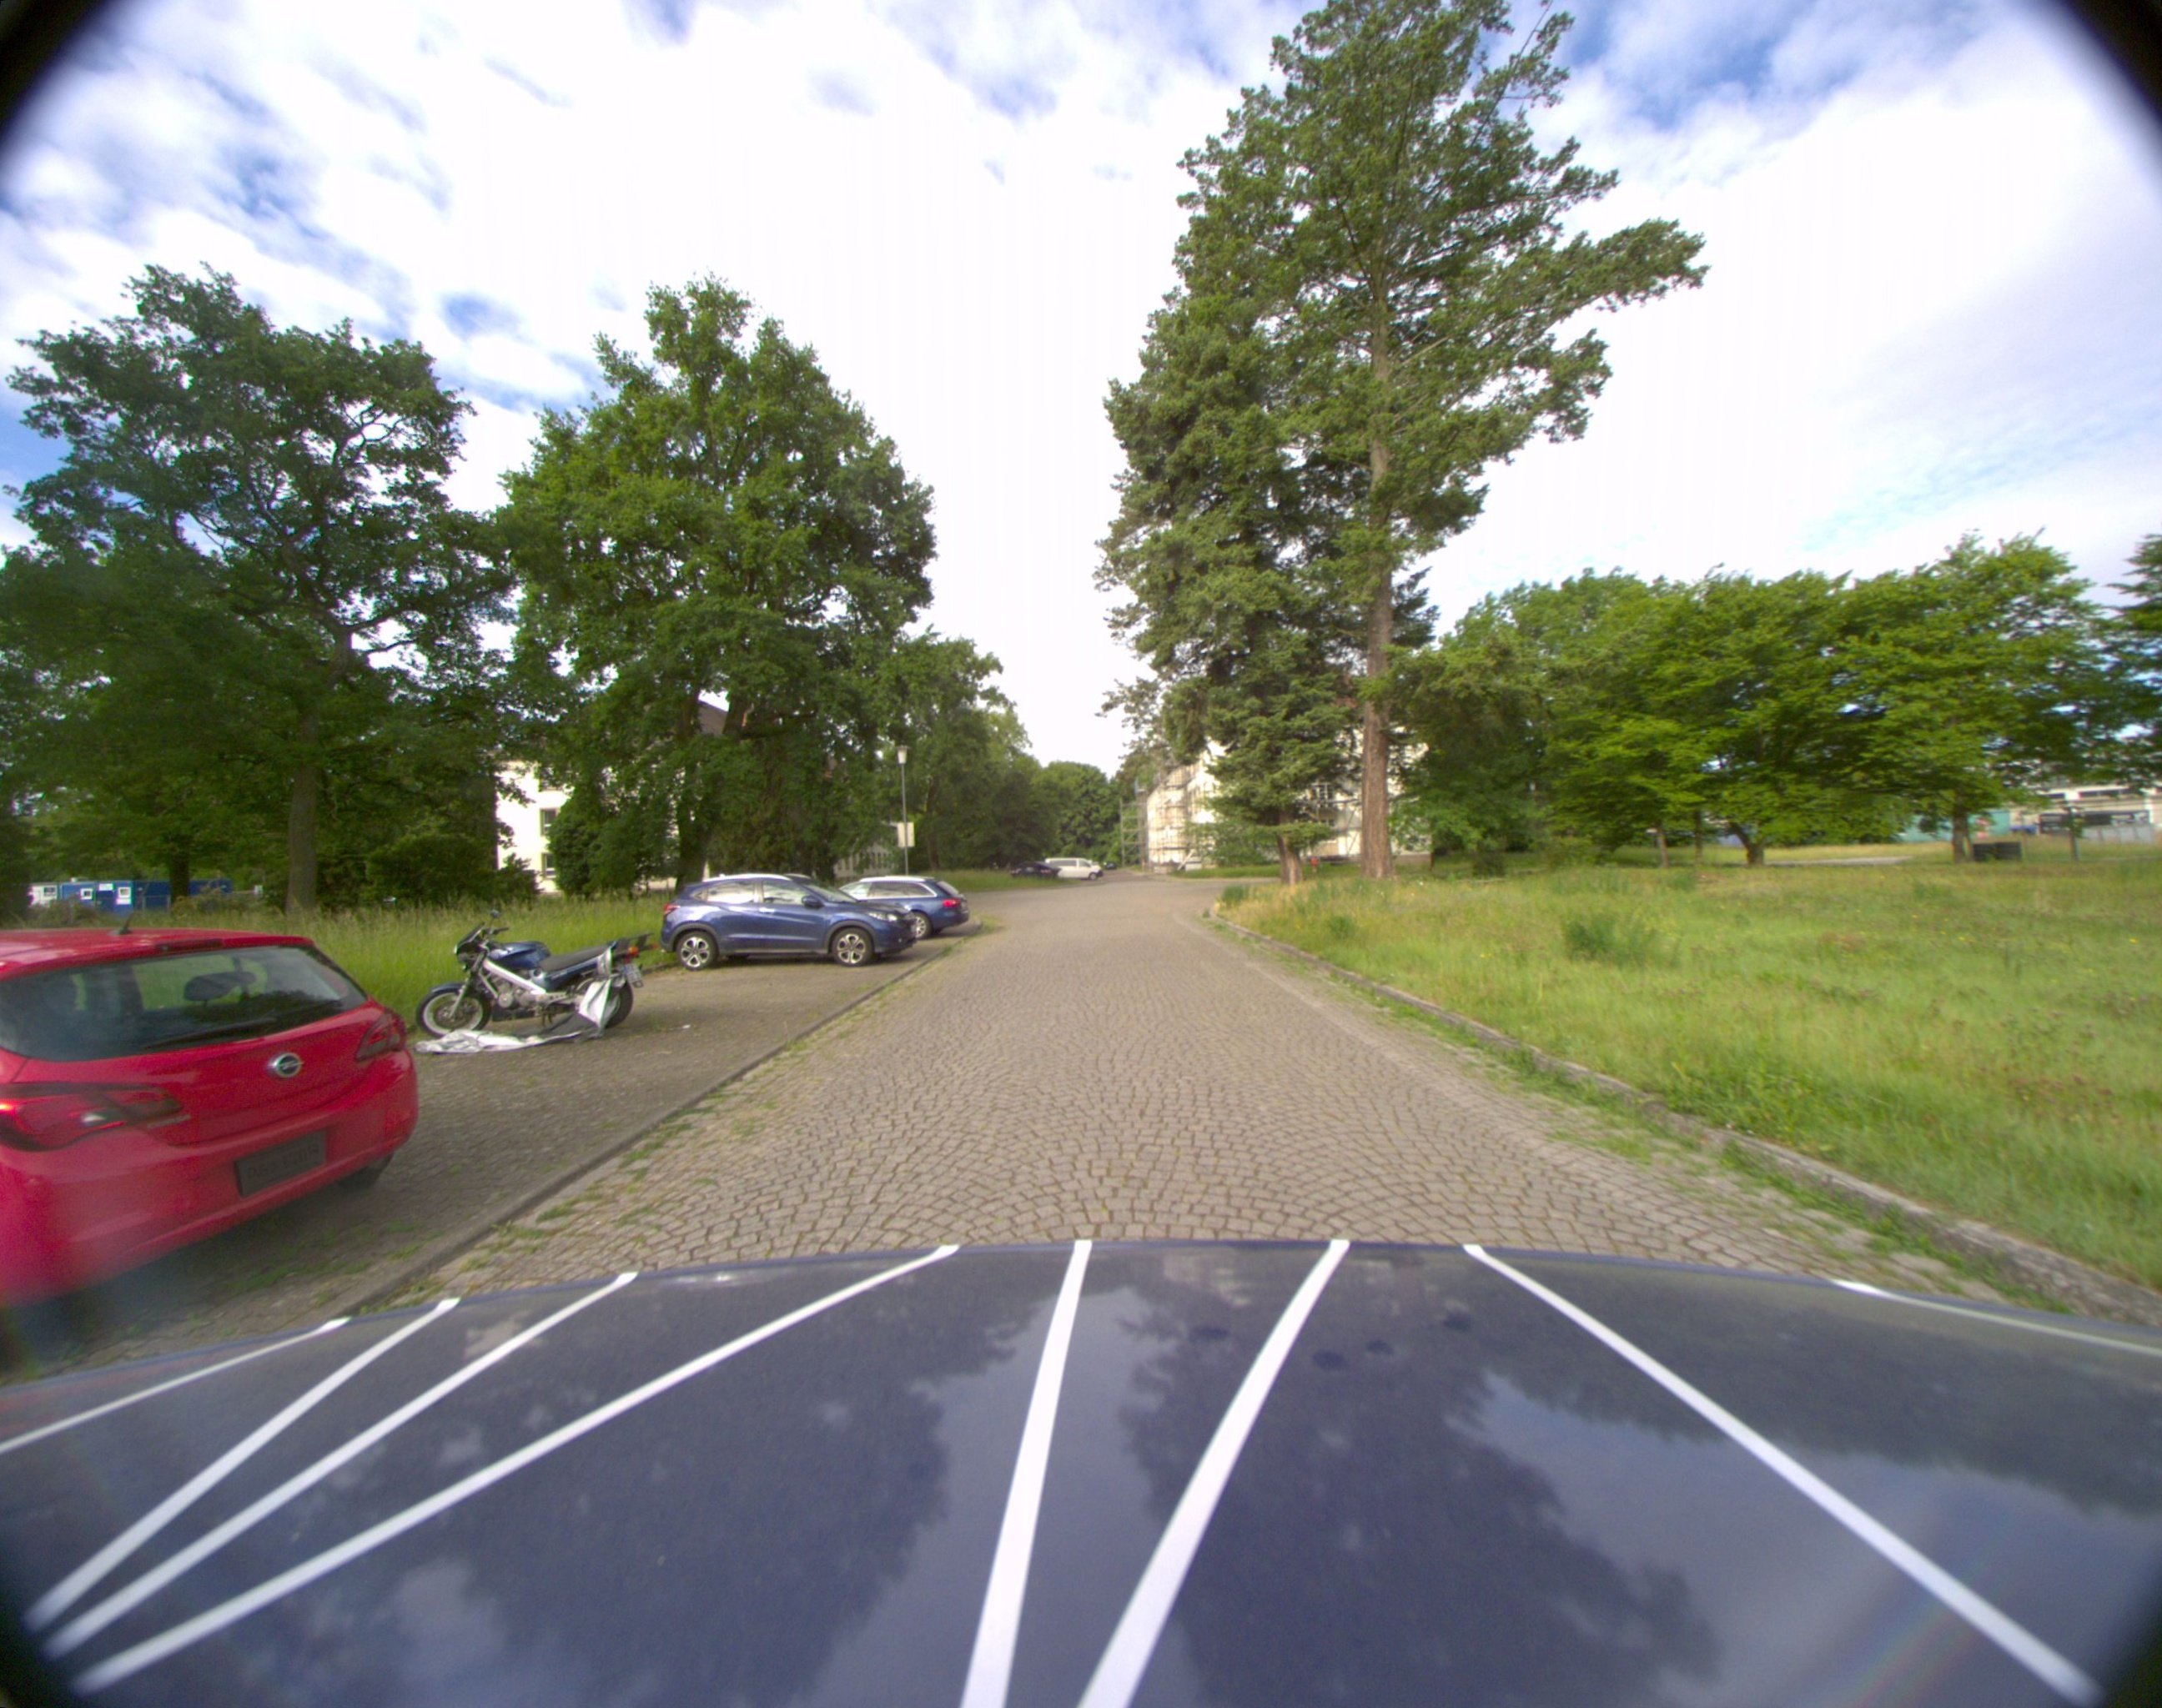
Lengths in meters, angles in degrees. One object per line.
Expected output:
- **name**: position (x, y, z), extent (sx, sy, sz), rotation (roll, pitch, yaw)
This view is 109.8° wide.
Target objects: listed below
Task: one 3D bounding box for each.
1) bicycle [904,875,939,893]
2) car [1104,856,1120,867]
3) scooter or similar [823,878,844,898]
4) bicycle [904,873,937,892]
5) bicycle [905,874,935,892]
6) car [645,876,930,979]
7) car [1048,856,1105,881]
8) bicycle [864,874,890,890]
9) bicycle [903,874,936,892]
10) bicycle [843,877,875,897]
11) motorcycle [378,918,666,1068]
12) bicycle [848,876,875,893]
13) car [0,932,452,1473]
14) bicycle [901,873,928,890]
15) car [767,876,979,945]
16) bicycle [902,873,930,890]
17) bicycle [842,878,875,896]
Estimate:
- **bicycle**: position (-9.892, 1.854, 47.178), extent (2.020, 1.004, 0.478), rotation (-2, 2, -21)
- **car**: position (5.438, 1.296, 133.269), extent (2.028, 1.915, 3.997), rotation (-2, 0, -10)
- **scooter or similar**: position (-15.054, 2.077, 46.236), extent (1.063, 1.187, 0.385), rotation (-2, 0, 3)
- **bicycle**: position (-10.316, 1.823, 48.888), extent (2.020, 1.082, 0.478), rotation (-2, 2, -21)
- **bicycle**: position (-10.531, 1.871, 49.679), extent (1.791, 1.082, 0.478), rotation (-2, 2, -21)
- **car**: position (-5.019, 1.241, 13.459), extent (4.274, 1.564, 1.895), rotation (-1, 0, 0)
- **car**: position (-0.413, 1.244, 66.887), extent (4.916, 1.983, 2.000), rotation (-2, 0, -2)
- **bicycle**: position (-13.866, 1.908, 51.649), extent (1.568, 1.028, 0.476), rotation (-2, 0, -23)
- **bicycle**: position (-10.255, 1.835, 48.250), extent (2.020, 1.082, 0.478), rotation (-2, 2, -21)
- **bicycle**: position (-13.716, 2.025, 47.007), extent (1.815, 1.082, 0.478), rotation (-2, 2, -26)
- **motorcycle**: position (-5.445, 1.332, 7.503), extent (2.271, 1.267, 0.605), rotation (-2, 0, -5)
- **bicycle**: position (-14.228, 1.970, 49.261), extent (1.568, 1.082, 0.561), rotation (-2, 0, -30)
- **car**: position (-5.257, 1.201, 3.119), extent (3.849, 1.496, 1.738), rotation (-1, 0, -1)
- **bicycle**: position (-11.612, 1.913, 52.977), extent (1.753, 1.082, 0.552), rotation (-2, 2, -21)
- **car**: position (-4.873, 1.318, 18.205), extent (4.515, 1.456, 1.896), rotation (-1, 0, 4)
- **bicycle**: position (-11.334, 1.901, 52.247), extent (1.810, 1.082, 0.552), rotation (-2, 2, -21)
- **bicycle**: position (-13.913, 2.054, 47.531), extent (1.859, 0.984, 0.455), rotation (-2, 0, -26)
